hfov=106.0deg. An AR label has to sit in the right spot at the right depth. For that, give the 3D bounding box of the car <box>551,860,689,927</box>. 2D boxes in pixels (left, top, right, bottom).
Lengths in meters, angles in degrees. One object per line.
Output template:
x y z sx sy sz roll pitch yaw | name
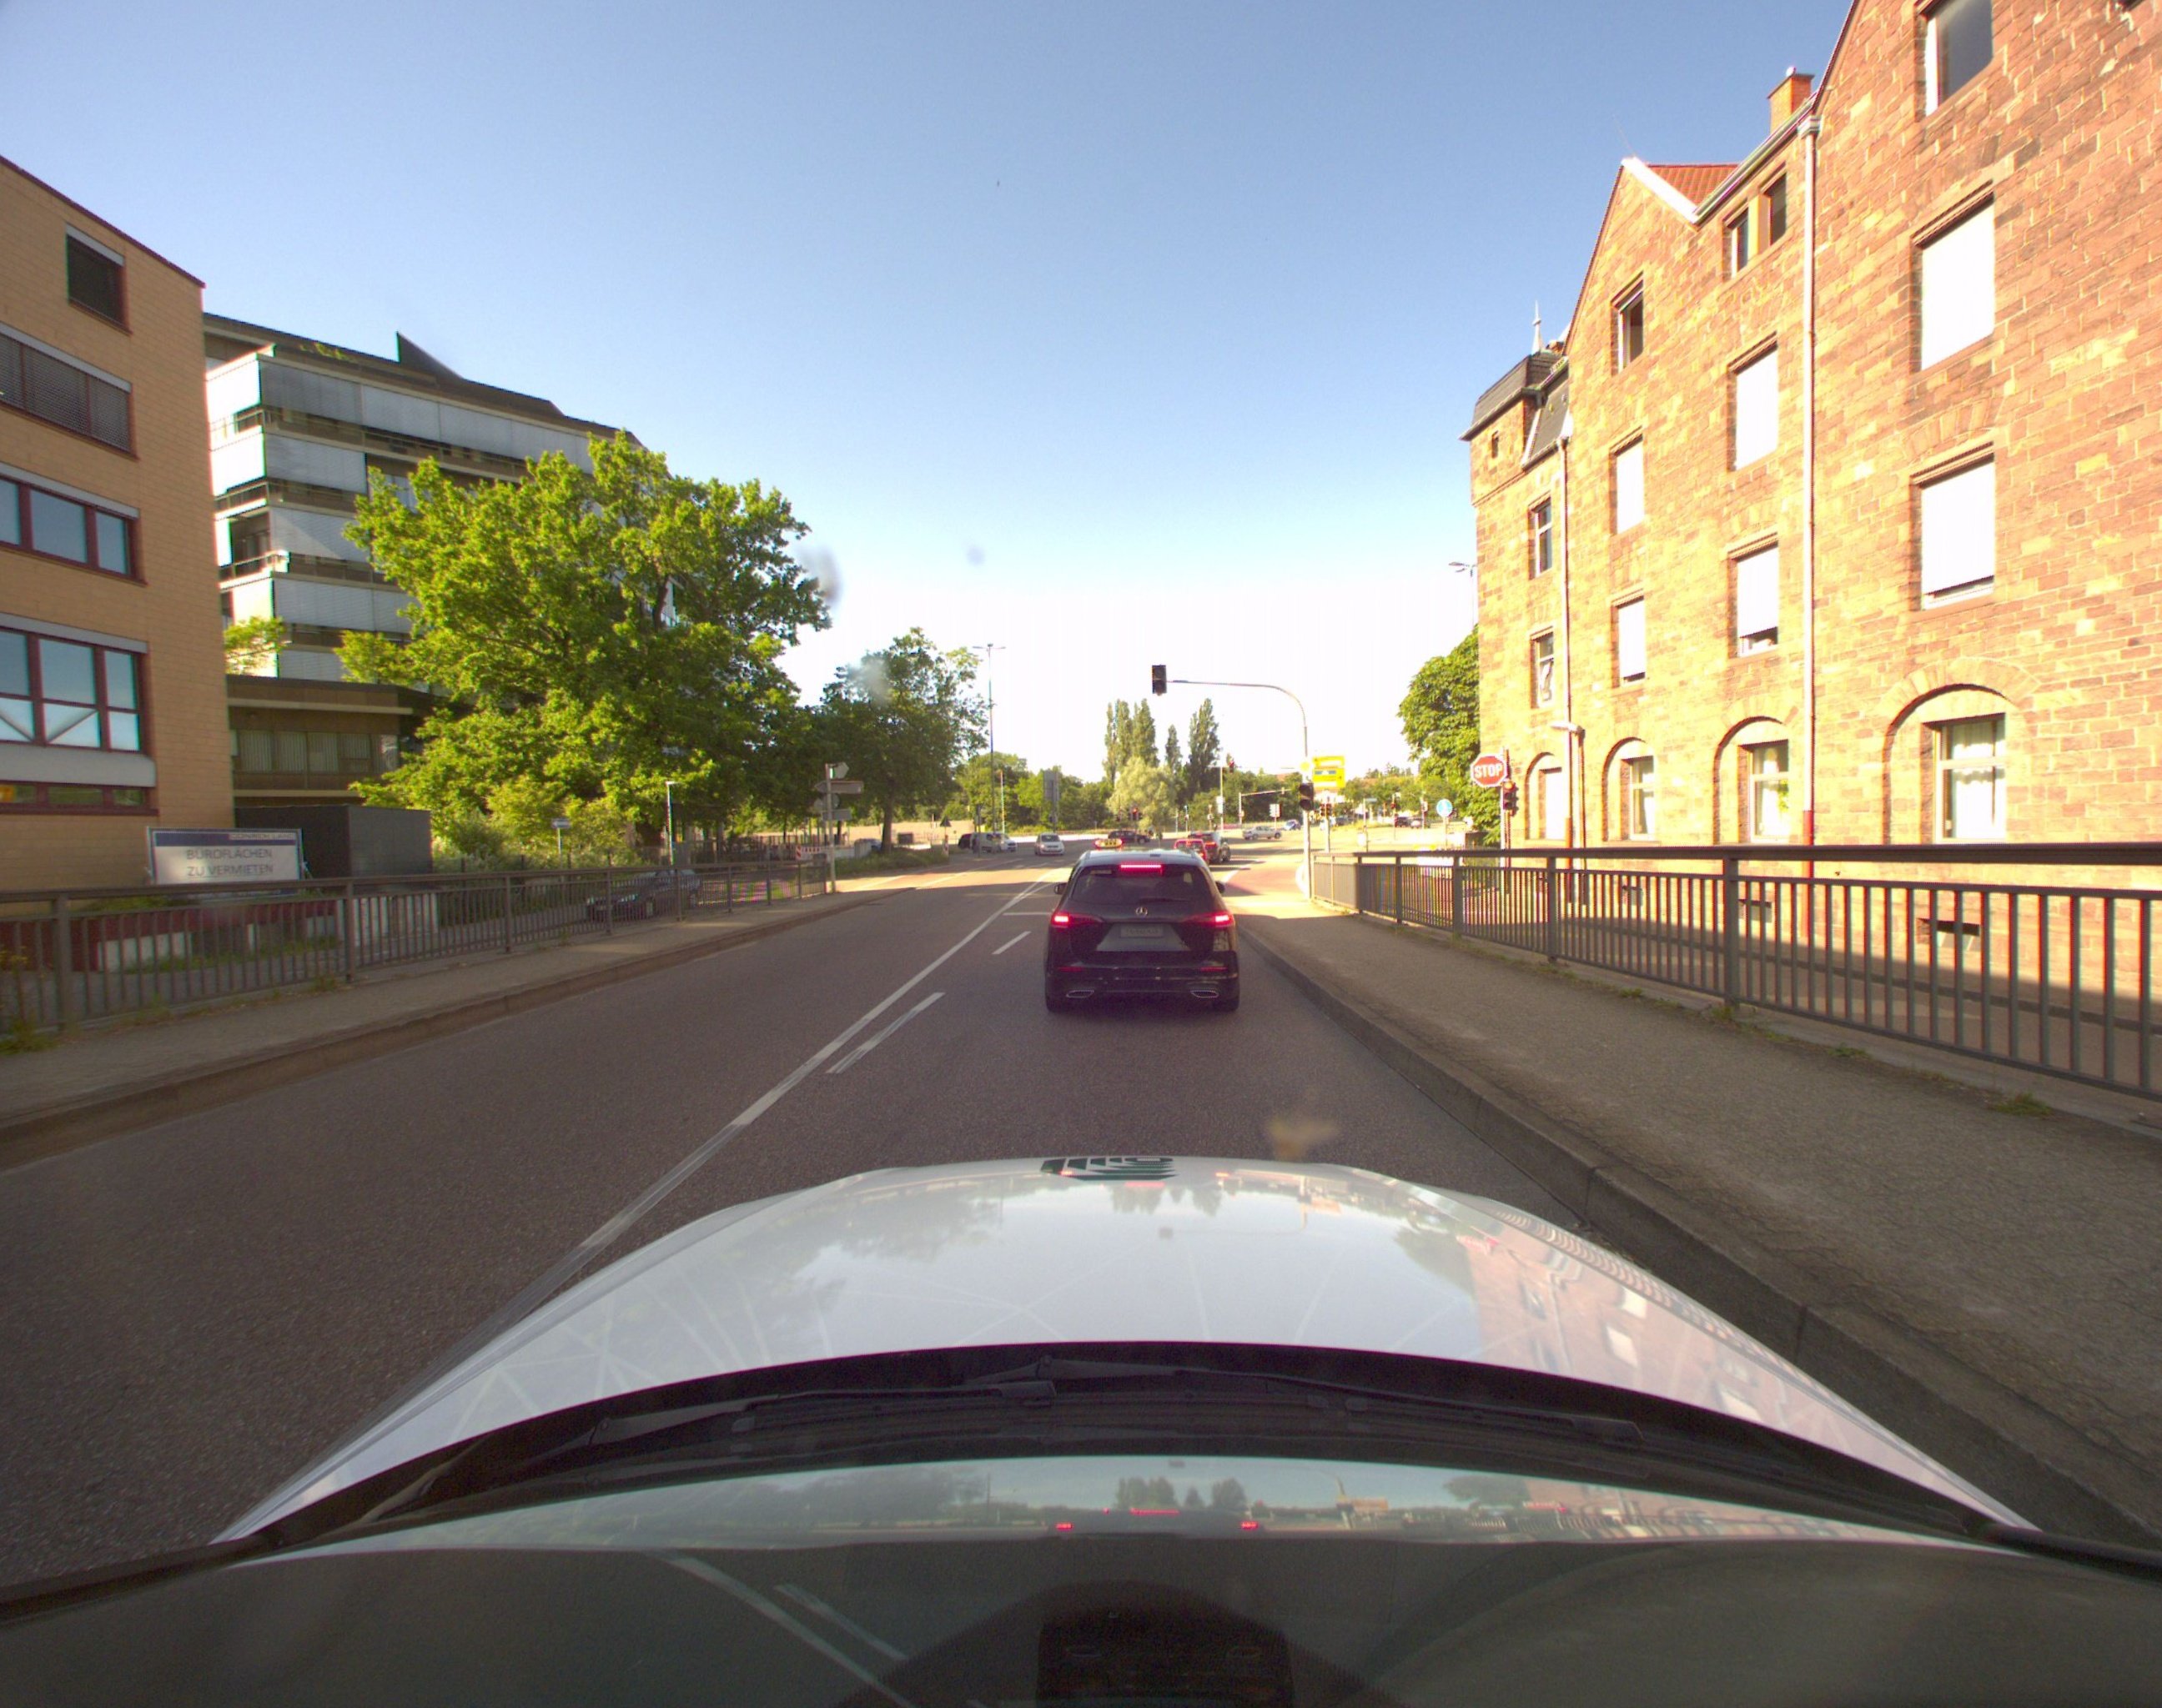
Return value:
-14.129 1.151 25.266 1.845 1.692 4.002 -2 2 1 | car

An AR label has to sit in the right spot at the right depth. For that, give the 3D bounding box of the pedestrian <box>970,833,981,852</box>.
-8.689 -0.933 67.176 0.700 1.525 0.746 -1 1 12 | pedestrian

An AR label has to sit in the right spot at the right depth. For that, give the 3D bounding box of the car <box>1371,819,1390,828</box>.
52.093 -5.304 141.573 1.860 1.578 4.026 -1 2 37 | car

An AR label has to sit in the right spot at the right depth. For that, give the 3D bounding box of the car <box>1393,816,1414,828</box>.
45.046 -4.425 113.762 1.866 1.547 4.025 -1 0 33 | car

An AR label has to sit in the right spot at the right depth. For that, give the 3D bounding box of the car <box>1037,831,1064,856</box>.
-2.233 -0.803 58.966 1.775 1.635 3.995 -3 3 -4 | car

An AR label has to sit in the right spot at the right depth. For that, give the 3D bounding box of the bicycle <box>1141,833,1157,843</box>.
7.614 -1.805 91.150 0.521 1.050 2.002 -2 2 44 | bicycle

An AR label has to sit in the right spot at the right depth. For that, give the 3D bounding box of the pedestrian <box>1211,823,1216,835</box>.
18.777 -3.564 115.512 0.446 1.585 0.504 -2 1 42 | pedestrian

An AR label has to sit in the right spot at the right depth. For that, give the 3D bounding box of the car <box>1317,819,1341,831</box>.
34.455 -4.022 113.103 1.860 1.578 4.026 -1 2 37 | car

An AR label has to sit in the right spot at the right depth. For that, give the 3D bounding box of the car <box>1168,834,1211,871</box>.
5.142 -0.126 38.285 1.710 1.521 3.499 -1 3 12 | car

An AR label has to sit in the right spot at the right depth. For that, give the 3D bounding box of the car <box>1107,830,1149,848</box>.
4.581 -1.477 79.810 3.977 1.629 1.889 -2 1 -3 | car

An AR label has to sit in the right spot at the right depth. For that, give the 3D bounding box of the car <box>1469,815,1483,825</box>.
62.126 -5.296 128.087 1.975 1.365 4.341 -2 3 25 | car

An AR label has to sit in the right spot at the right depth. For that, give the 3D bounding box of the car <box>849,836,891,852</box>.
-23.445 -1.062 90.345 4.355 1.629 1.903 -1 1 29 | car

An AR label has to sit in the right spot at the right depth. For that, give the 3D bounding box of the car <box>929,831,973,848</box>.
-13.124 -1.453 82.306 3.961 1.629 1.897 -2 1 10 | car

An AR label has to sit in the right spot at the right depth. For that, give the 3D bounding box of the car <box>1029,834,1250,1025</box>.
0.553 0.617 8.930 1.871 1.613 4.002 0 1 1 | car

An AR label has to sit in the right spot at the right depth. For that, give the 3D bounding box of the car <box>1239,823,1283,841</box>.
18.216 -2.214 82.415 3.999 1.629 1.879 -2 1 -19 | car

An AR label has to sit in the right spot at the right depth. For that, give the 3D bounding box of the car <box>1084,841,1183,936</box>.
1.024 0.566 15.779 1.632 1.529 3.478 -3 1 4 | car

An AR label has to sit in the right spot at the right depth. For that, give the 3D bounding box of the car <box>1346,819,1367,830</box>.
42.004 -4.508 124.254 1.860 1.578 4.026 -1 2 37 | car

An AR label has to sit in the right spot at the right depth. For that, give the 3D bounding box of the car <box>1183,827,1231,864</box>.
6.830 -0.457 43.928 1.707 1.812 4.319 -3 0 19 | car

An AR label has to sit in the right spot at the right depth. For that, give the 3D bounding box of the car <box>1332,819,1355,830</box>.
38.128 -4.283 118.194 1.860 1.578 4.026 -1 2 37 | car

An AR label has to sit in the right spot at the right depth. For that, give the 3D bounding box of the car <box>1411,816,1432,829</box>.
43.733 -4.072 104.621 1.722 1.498 4.026 -2 0 33 | car

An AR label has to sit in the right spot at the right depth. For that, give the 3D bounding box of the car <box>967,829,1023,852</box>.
-7.431 -1.125 70.125 4.836 1.794 1.936 -1 2 42 | car

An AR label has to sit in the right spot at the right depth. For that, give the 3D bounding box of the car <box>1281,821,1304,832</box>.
31.184 -4.071 119.856 1.860 1.578 4.026 -1 2 37 | car

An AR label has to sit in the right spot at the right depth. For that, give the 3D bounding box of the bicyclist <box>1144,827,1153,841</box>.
7.602 -2.260 91.129 0.521 1.551 0.812 -2 2 44 | bicyclist
